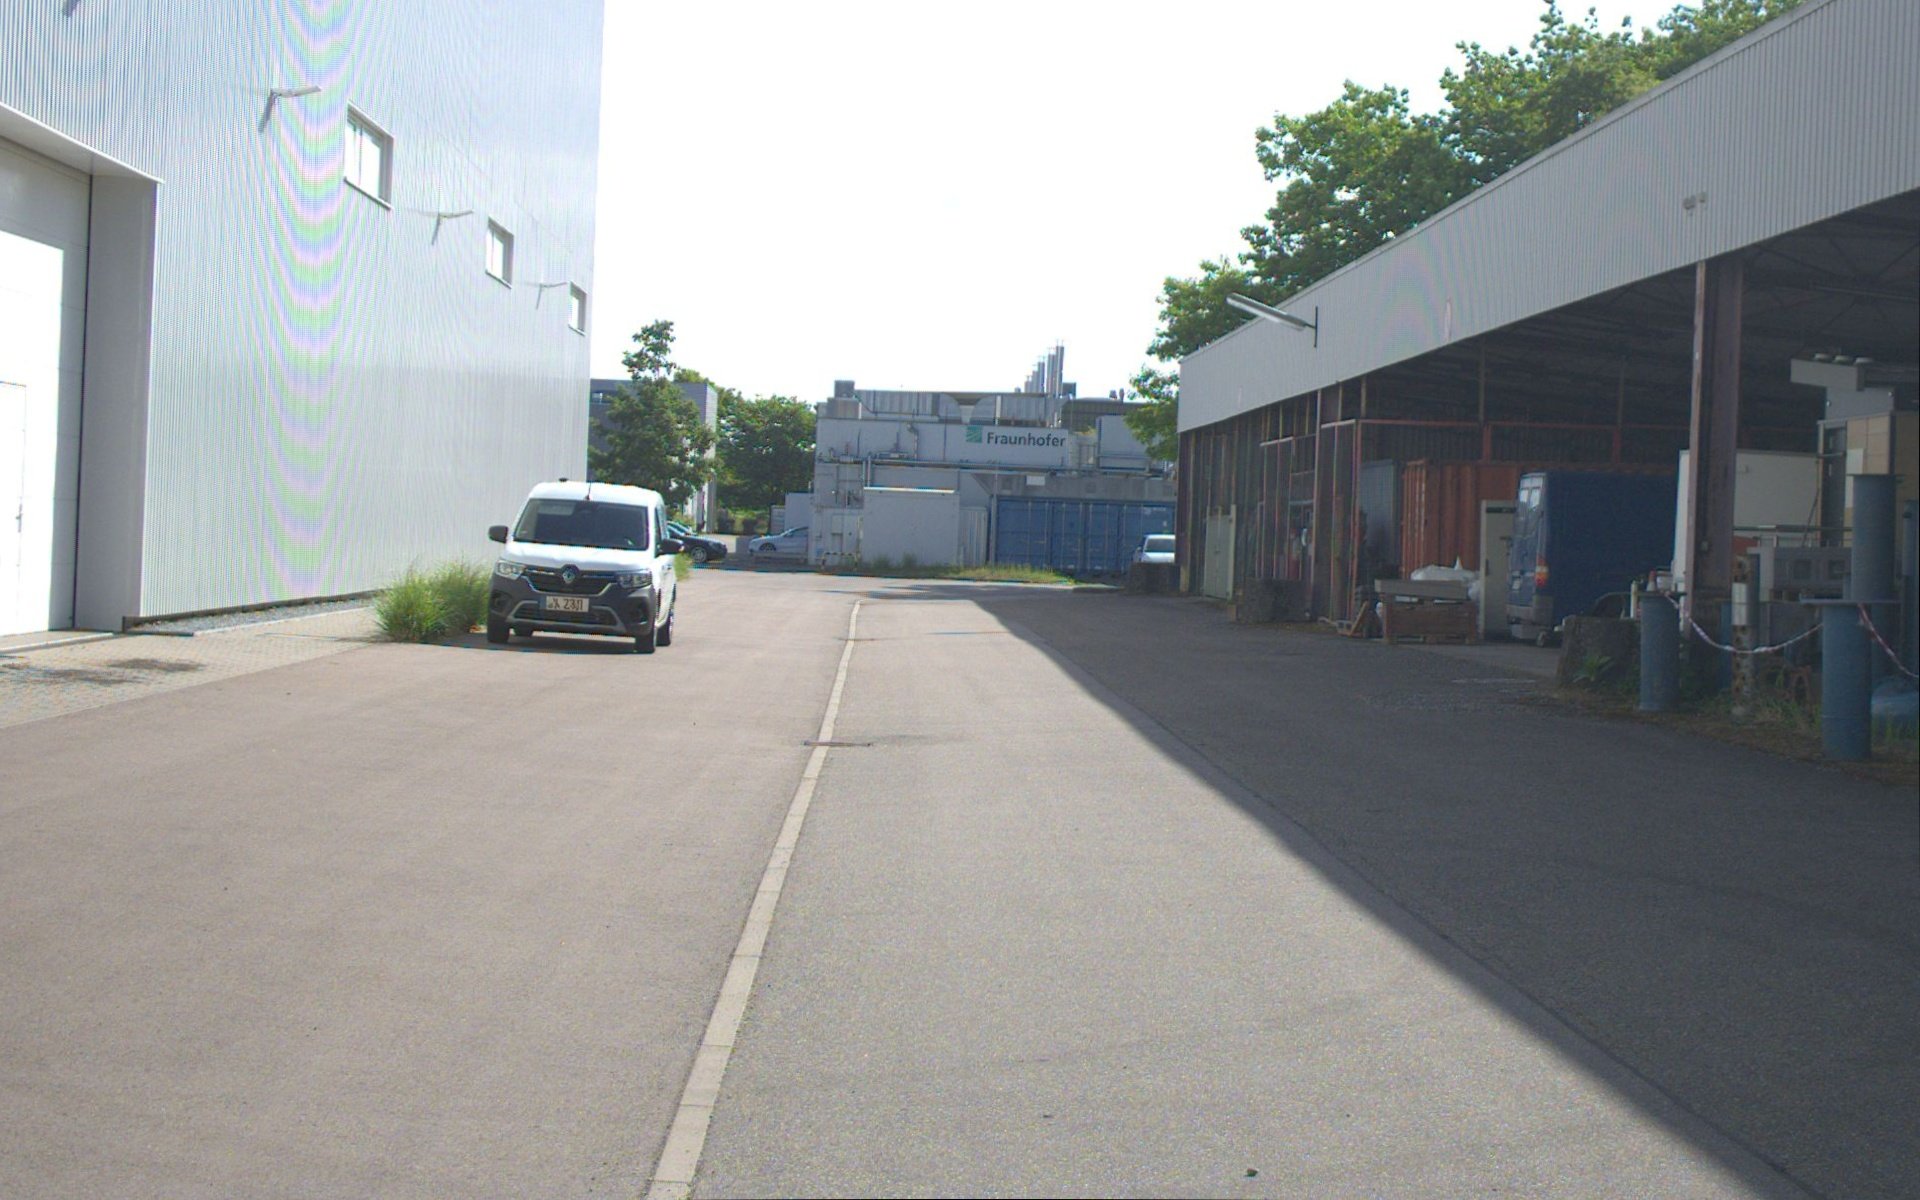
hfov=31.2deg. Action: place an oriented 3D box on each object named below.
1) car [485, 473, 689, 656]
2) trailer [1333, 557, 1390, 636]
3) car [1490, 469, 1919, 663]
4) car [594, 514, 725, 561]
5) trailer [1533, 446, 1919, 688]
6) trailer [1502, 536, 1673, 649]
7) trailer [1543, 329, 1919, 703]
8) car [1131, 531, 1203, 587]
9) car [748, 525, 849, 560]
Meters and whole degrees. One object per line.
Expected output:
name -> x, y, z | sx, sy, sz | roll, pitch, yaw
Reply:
car -> -4.083, -0.405, 38.276 | 1.783, 1.809, 4.602 | 4, 1, -1
trailer -> 5.761, -0.055, 49.367 | 0.551, 1.114, 1.547 | 1, 1, -3
car -> 9.622, -0.426, 43.697 | 5.332, 2.273, 2.153 | 2, 1, -2
car -> -10.488, -2.174, 120.129 | 4.447, 1.525, 1.824 | 1, 1, -1
trailer -> 8.263, -0.332, 34.878 | 4.516, 2.334, 2.047 | 1, 1, 0
trailer -> 8.427, -0.114, 46.297 | 2.038, 1.461, 1.738 | 1, 1, 3
trailer -> 10.904, -0.737, 32.414 | 10.267, 3.331, 2.801 | 1, 1, -1
car -> 6.474, -1.317, 107.949 | 1.979, 1.597, 4.378 | 1, 2, 0
car -> -6.935, -2.477, 148.086 | 4.302, 1.452, 1.824 | 1, 1, -2
